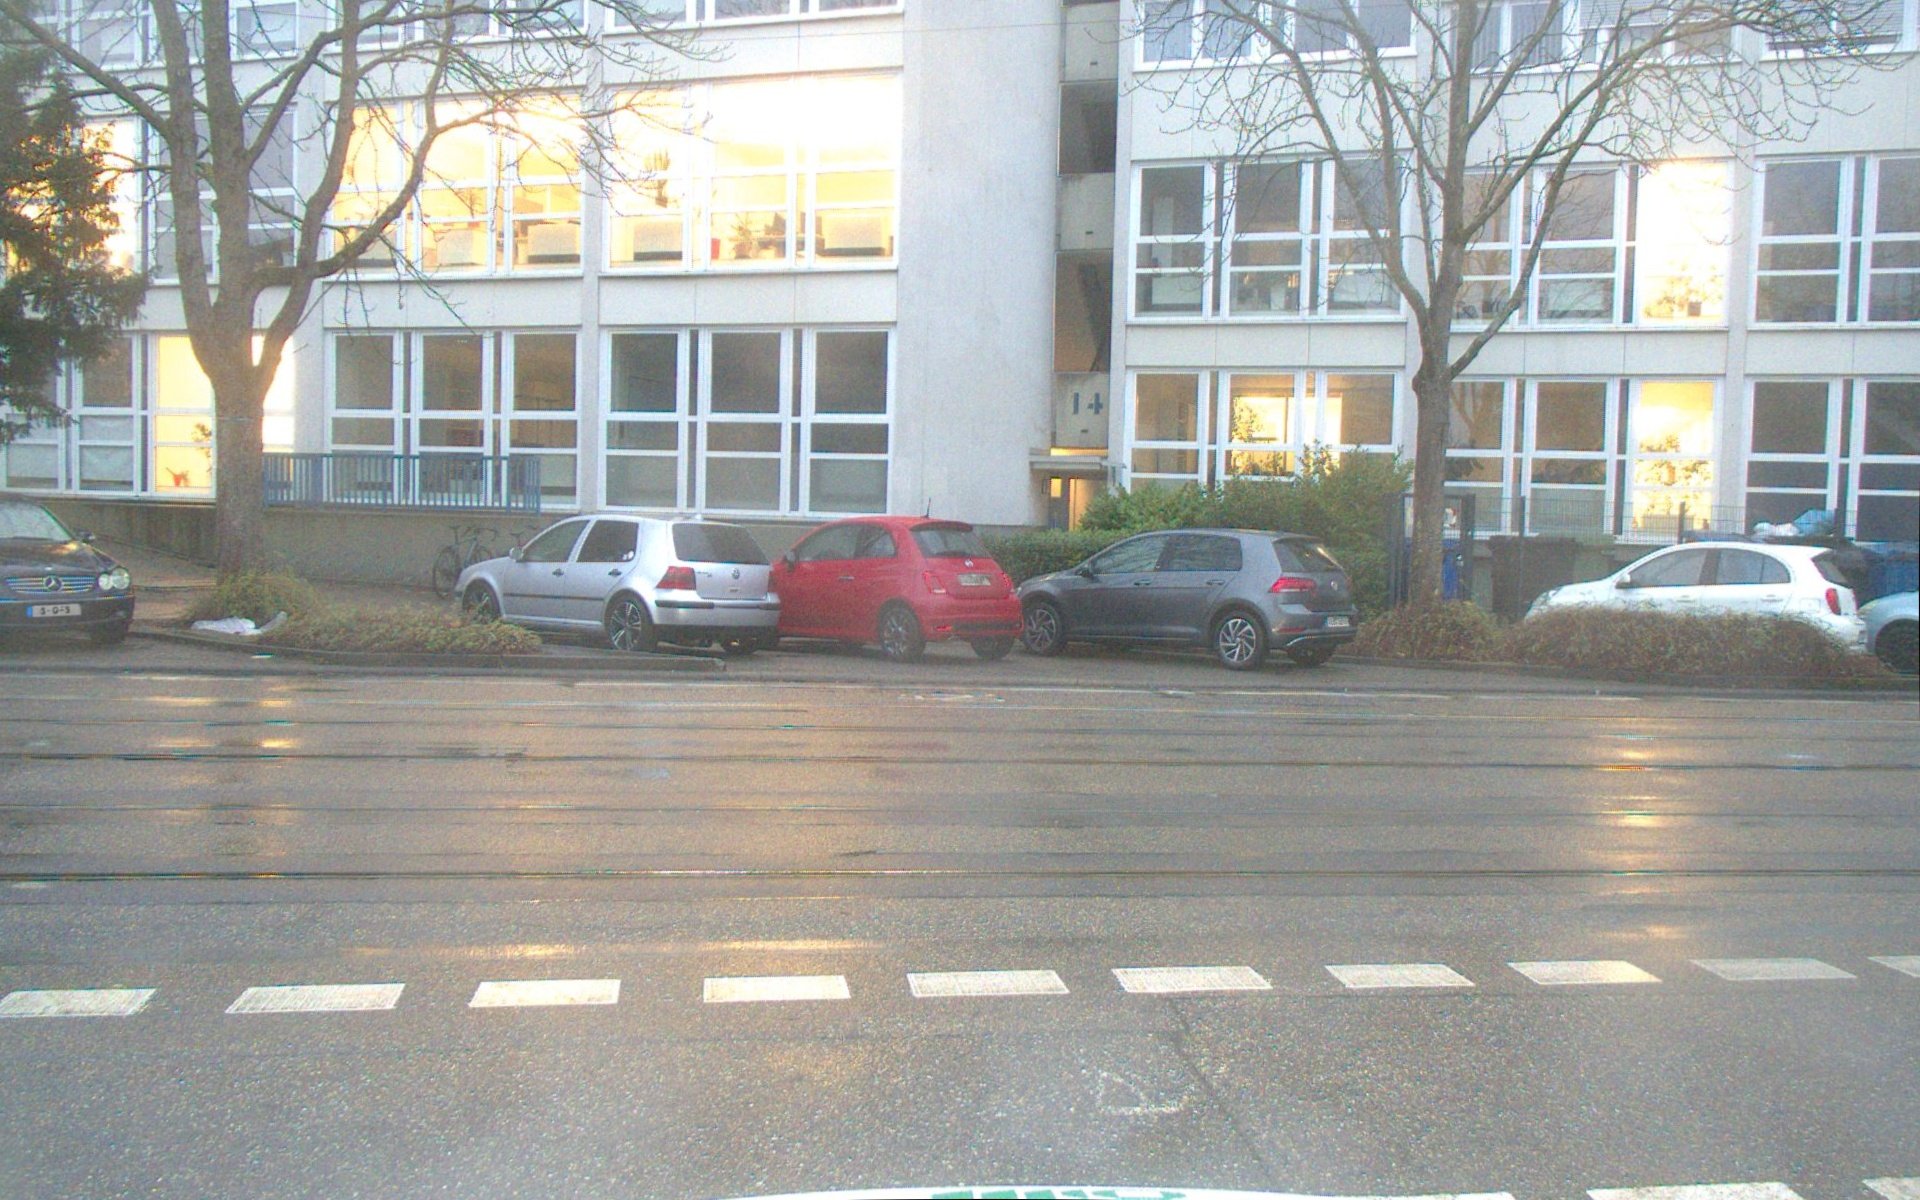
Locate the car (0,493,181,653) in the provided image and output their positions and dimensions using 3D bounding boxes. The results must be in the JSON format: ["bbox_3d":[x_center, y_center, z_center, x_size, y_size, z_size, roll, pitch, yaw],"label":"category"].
[{"bbox_3d":[-9.446,-0.322,16.230,3.928,1.402,1.846,3,3,41],"label":"car"}]

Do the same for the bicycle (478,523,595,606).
[{"bbox_3d":[-6.055,-0.531,23.775,0.626,1.140,2.208,1,2,15],"label":"bicycle"}]

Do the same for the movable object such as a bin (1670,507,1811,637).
[{"bbox_3d":[11.744,-0.448,24.959,1.288,1.892,1.573,0,2,-6],"label":"movable object such as a bin"}]

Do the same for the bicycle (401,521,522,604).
[{"bbox_3d":[-7.222,-0.562,24.090,0.626,1.140,2.208,1,2,15],"label":"bicycle"}]

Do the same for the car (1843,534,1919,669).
[{"bbox_3d":[12.832,0.043,19.567,3.928,1.590,1.727,3,3,41],"label":"car"}]

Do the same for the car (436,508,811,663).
[{"bbox_3d":[-3.641,-0.226,17.635,3.921,1.471,1.786,2,3,37],"label":"car"}]

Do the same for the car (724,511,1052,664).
[{"bbox_3d":[-0.840,-0.206,18.271,3.389,1.518,1.720,3,3,41],"label":"car"}]

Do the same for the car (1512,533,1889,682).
[{"bbox_3d":[8.767,0.010,19.719,3.802,1.578,1.686,3,3,38],"label":"car"}]

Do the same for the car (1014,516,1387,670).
[{"bbox_3d":[2.604,-0.148,18.367,3.781,1.518,1.688,3,3,39],"label":"car"}]

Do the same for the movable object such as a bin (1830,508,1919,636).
[{"bbox_3d":[14.413,-0.459,25.301,1.288,1.892,1.573,0,2,-6],"label":"movable object such as a bin"}]

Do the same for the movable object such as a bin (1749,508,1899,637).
[{"bbox_3d":[13.099,-0.439,25.145,1.362,1.892,1.573,0,2,-6],"label":"movable object such as a bin"}]
